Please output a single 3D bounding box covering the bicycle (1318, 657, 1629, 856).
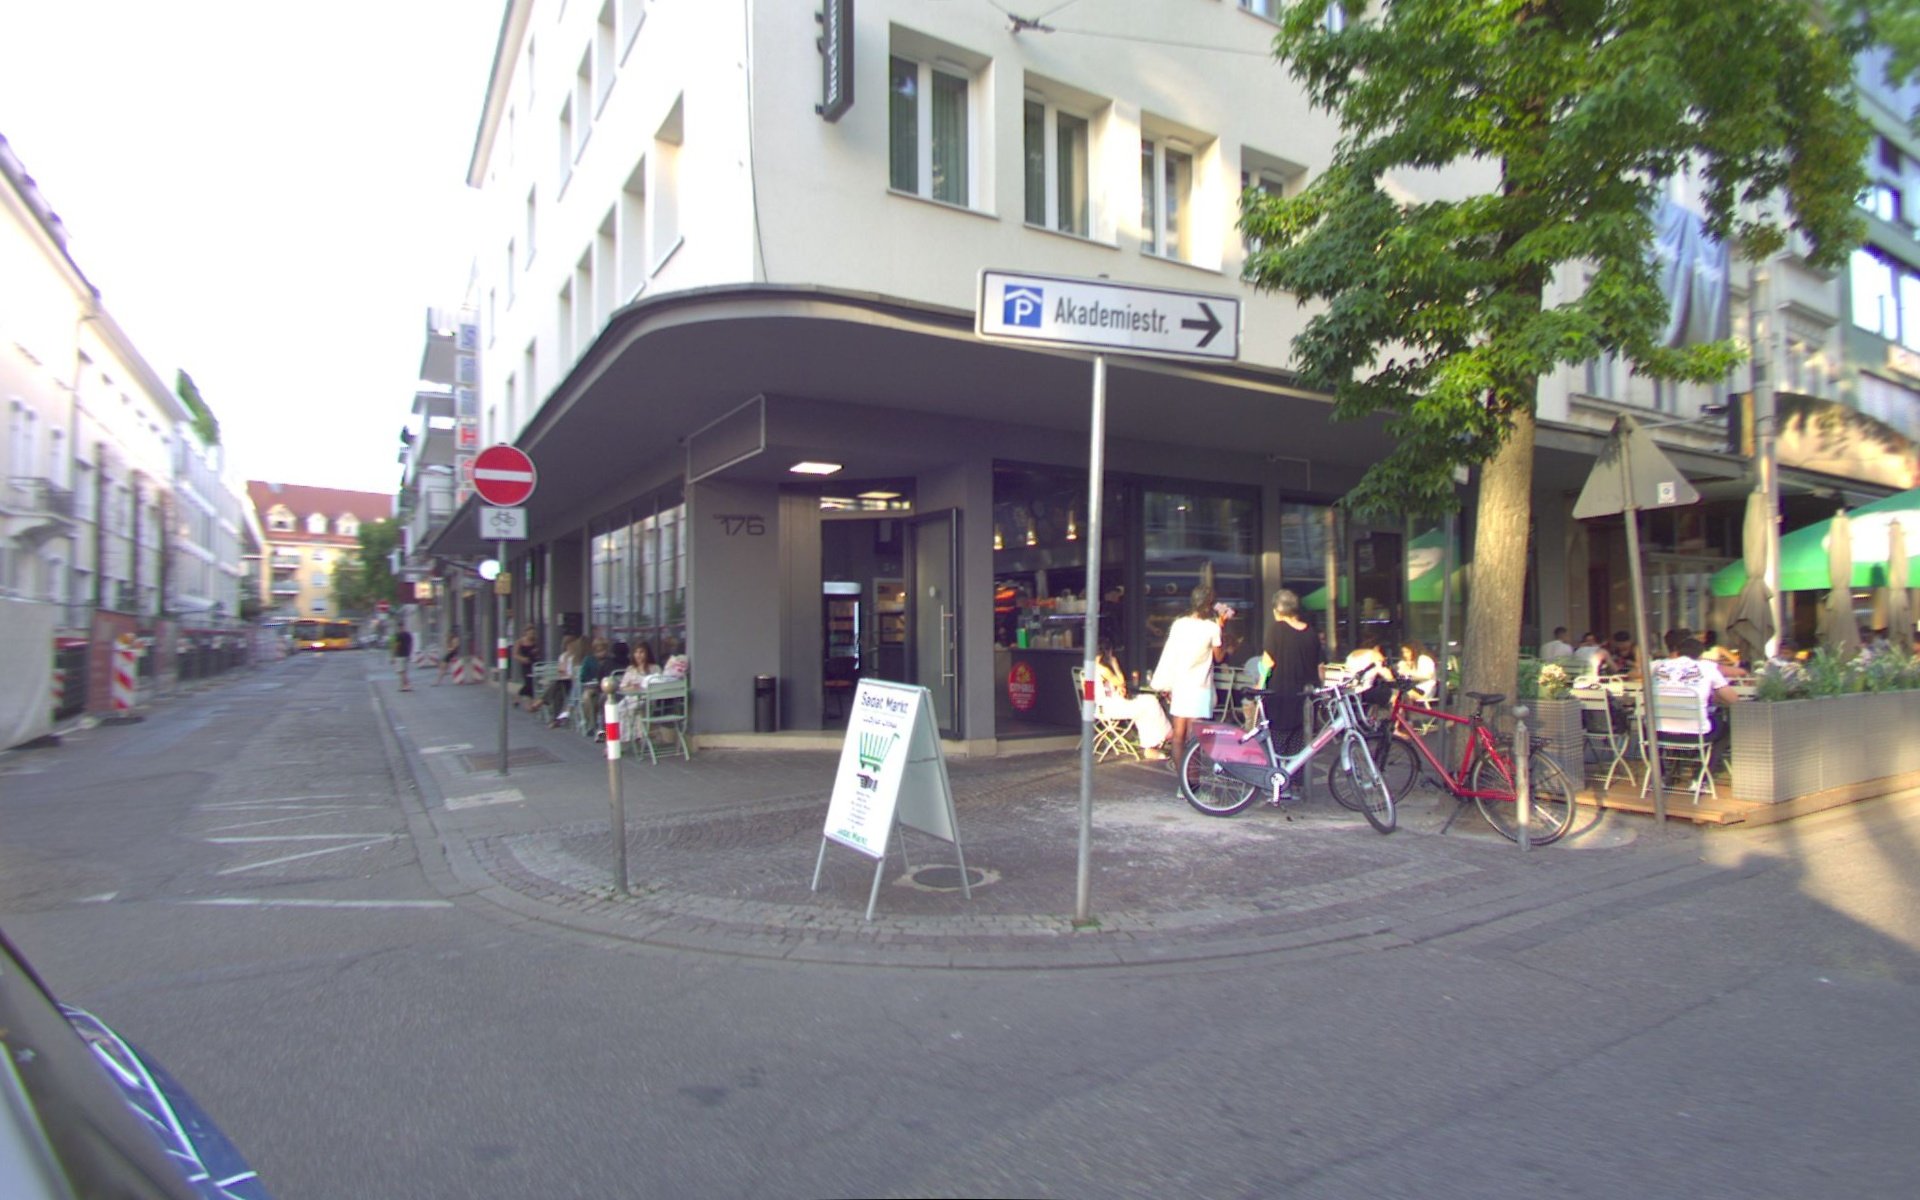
[{"bbox_3d":[3.504,1.003,7.091,0.616,1.148,1.871,2,-2,-34],"label":"bicycle"}]

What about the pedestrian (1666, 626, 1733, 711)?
[{"bbox_3d":[12.508,1.144,17.119,0.752,1.389,0.658,2,-2,-31],"label":"pedestrian"}]

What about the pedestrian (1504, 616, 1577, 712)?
[{"bbox_3d":[8.750,0.949,15.261,0.752,1.389,0.658,2,-2,-31],"label":"pedestrian"}]

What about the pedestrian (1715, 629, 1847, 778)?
[{"bbox_3d":[8.026,0.971,9.898,0.856,1.372,0.720,1,-2,-30],"label":"pedestrian"}]

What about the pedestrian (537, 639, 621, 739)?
[{"bbox_3d":[-5.211,1.195,13.838,0.859,1.296,0.698,-3,-2,34],"label":"pedestrian"}]

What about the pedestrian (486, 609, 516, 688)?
[{"bbox_3d":[-10.850,1.150,23.914,0.537,1.824,0.615,2,-3,-32],"label":"pedestrian"}]

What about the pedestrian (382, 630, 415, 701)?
[{"bbox_3d":[-14.713,1.697,26.504,0.694,1.795,0.935,0,-2,-32],"label":"pedestrian"}]

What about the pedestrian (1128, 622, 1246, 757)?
[{"bbox_3d":[2.374,0.904,10.619,0.866,1.330,0.853,1,-2,-28],"label":"pedestrian"}]

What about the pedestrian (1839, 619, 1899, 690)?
[{"bbox_3d":[17.544,1.037,19.533,0.752,1.341,0.658,2,-2,-31],"label":"pedestrian"}]

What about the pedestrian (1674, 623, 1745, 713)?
[{"bbox_3d":[11.944,1.069,16.131,0.752,1.389,0.658,2,-2,-31],"label":"pedestrian"}]

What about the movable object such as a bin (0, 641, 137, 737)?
[{"bbox_3d":[-19.127,1.726,20.617,2.851,1.677,7.313,2,-4,-33],"label":"movable object such as a bin"}]

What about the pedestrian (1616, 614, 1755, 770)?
[{"bbox_3d":[6.773,0.823,9.459,0.909,1.372,0.720,1,-2,-30],"label":"pedestrian"}]

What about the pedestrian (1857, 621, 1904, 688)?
[{"bbox_3d":[19.555,1.148,21.501,0.667,1.389,0.540,2,-2,-31],"label":"pedestrian"}]

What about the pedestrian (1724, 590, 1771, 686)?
[{"bbox_3d":[14.990,0.719,19.263,0.656,1.779,0.755,-1,-2,40],"label":"pedestrian"}]

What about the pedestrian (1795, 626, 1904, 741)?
[{"bbox_3d":[11.172,1.019,12.713,0.994,1.372,0.720,1,-2,-30],"label":"pedestrian"}]

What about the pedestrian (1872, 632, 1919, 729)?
[{"bbox_3d":[12.337,1.035,13.165,0.502,1.228,0.546,1,-2,-30],"label":"pedestrian"}]

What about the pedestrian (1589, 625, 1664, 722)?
[{"bbox_3d":[9.913,1.075,15.059,0.752,1.389,0.658,2,-2,-31],"label":"pedestrian"}]

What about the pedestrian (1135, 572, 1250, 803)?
[{"bbox_3d":[1.884,0.677,8.191,0.778,1.754,0.635,-1,-2,28],"label":"pedestrian"}]

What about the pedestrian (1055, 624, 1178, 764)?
[{"bbox_3d":[1.568,0.914,10.220,0.866,1.330,0.891,1,-2,-29],"label":"pedestrian"}]

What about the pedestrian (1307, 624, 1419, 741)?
[{"bbox_3d":[4.830,0.961,12.156,0.866,1.330,0.891,1,-2,-29],"label":"pedestrian"}]

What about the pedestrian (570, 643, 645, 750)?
[{"bbox_3d":[-4.324,1.159,12.398,0.694,1.204,0.693,-3,-1,-29],"label":"pedestrian"}]

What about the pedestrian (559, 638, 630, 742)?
[{"bbox_3d":[-4.754,1.150,13.154,0.694,1.249,0.780,-4,-1,-29],"label":"pedestrian"}]

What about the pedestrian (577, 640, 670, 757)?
[{"bbox_3d":[-3.723,1.075,11.243,0.697,1.228,0.840,-2,-2,5],"label":"pedestrian"}]

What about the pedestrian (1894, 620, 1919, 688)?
[{"bbox_3d":[19.827,1.120,20.902,0.637,1.389,0.609,2,-2,-31],"label":"pedestrian"}]

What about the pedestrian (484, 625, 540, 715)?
[{"bbox_3d":[-8.170,1.271,18.453,0.636,1.581,0.651,-3,-2,32],"label":"pedestrian"}]

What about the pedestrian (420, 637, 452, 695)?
[{"bbox_3d":[-14.721,1.839,28.441,0.699,1.590,0.615,-1,-2,-35],"label":"pedestrian"}]

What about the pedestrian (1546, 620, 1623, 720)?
[{"bbox_3d":[8.989,0.995,14.569,0.752,1.389,0.658,2,-2,-31],"label":"pedestrian"}]

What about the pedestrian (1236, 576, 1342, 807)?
[{"bbox_3d":[2.618,0.705,8.115,0.774,1.754,0.638,0,-2,16],"label":"pedestrian"}]

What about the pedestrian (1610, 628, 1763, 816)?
[{"bbox_3d":[5.723,0.914,7.985,0.779,1.388,0.697,1,-2,-30],"label":"pedestrian"}]

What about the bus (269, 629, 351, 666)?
[{"bbox_3d":[-62.512,4.476,97.704,3.857,3.350,12.573,1,-2,-20],"label":"bus"}]

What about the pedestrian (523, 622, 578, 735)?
[{"bbox_3d":[-5.948,1.116,14.691,0.694,1.559,0.864,0,-2,-24],"label":"pedestrian"}]

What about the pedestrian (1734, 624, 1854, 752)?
[{"bbox_3d":[9.438,0.966,11.453,0.994,1.372,0.720,1,-2,-30],"label":"pedestrian"}]

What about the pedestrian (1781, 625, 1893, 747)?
[{"bbox_3d":[10.356,0.990,11.960,0.909,1.372,0.720,1,-2,-30],"label":"pedestrian"}]

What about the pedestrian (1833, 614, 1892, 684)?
[{"bbox_3d":[18.475,0.995,20.716,0.752,1.389,0.694,2,-2,-31],"label":"pedestrian"}]

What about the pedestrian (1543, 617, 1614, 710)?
[{"bbox_3d":[9.557,0.963,15.638,0.752,1.389,0.658,2,-2,-31],"label":"pedestrian"}]

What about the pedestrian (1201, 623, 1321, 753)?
[{"bbox_3d":[3.247,0.919,10.967,0.866,1.330,0.891,1,-2,-29],"label":"pedestrian"}]

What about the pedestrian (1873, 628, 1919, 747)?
[{"bbox_3d":[11.500,1.023,11.984,0.994,1.372,0.720,1,-2,-30],"label":"pedestrian"}]

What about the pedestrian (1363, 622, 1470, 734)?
[{"bbox_3d":[5.685,0.949,12.619,0.866,1.330,0.853,1,-2,-28],"label":"pedestrian"}]

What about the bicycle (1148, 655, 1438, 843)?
[{"bbox_3d":[2.372,0.993,7.277,1.860,1.148,0.772,-1,-2,31],"label":"bicycle"}]

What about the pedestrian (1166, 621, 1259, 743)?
[{"bbox_3d":[2.882,0.912,11.551,0.827,1.330,0.626,1,-2,-29],"label":"pedestrian"}]
